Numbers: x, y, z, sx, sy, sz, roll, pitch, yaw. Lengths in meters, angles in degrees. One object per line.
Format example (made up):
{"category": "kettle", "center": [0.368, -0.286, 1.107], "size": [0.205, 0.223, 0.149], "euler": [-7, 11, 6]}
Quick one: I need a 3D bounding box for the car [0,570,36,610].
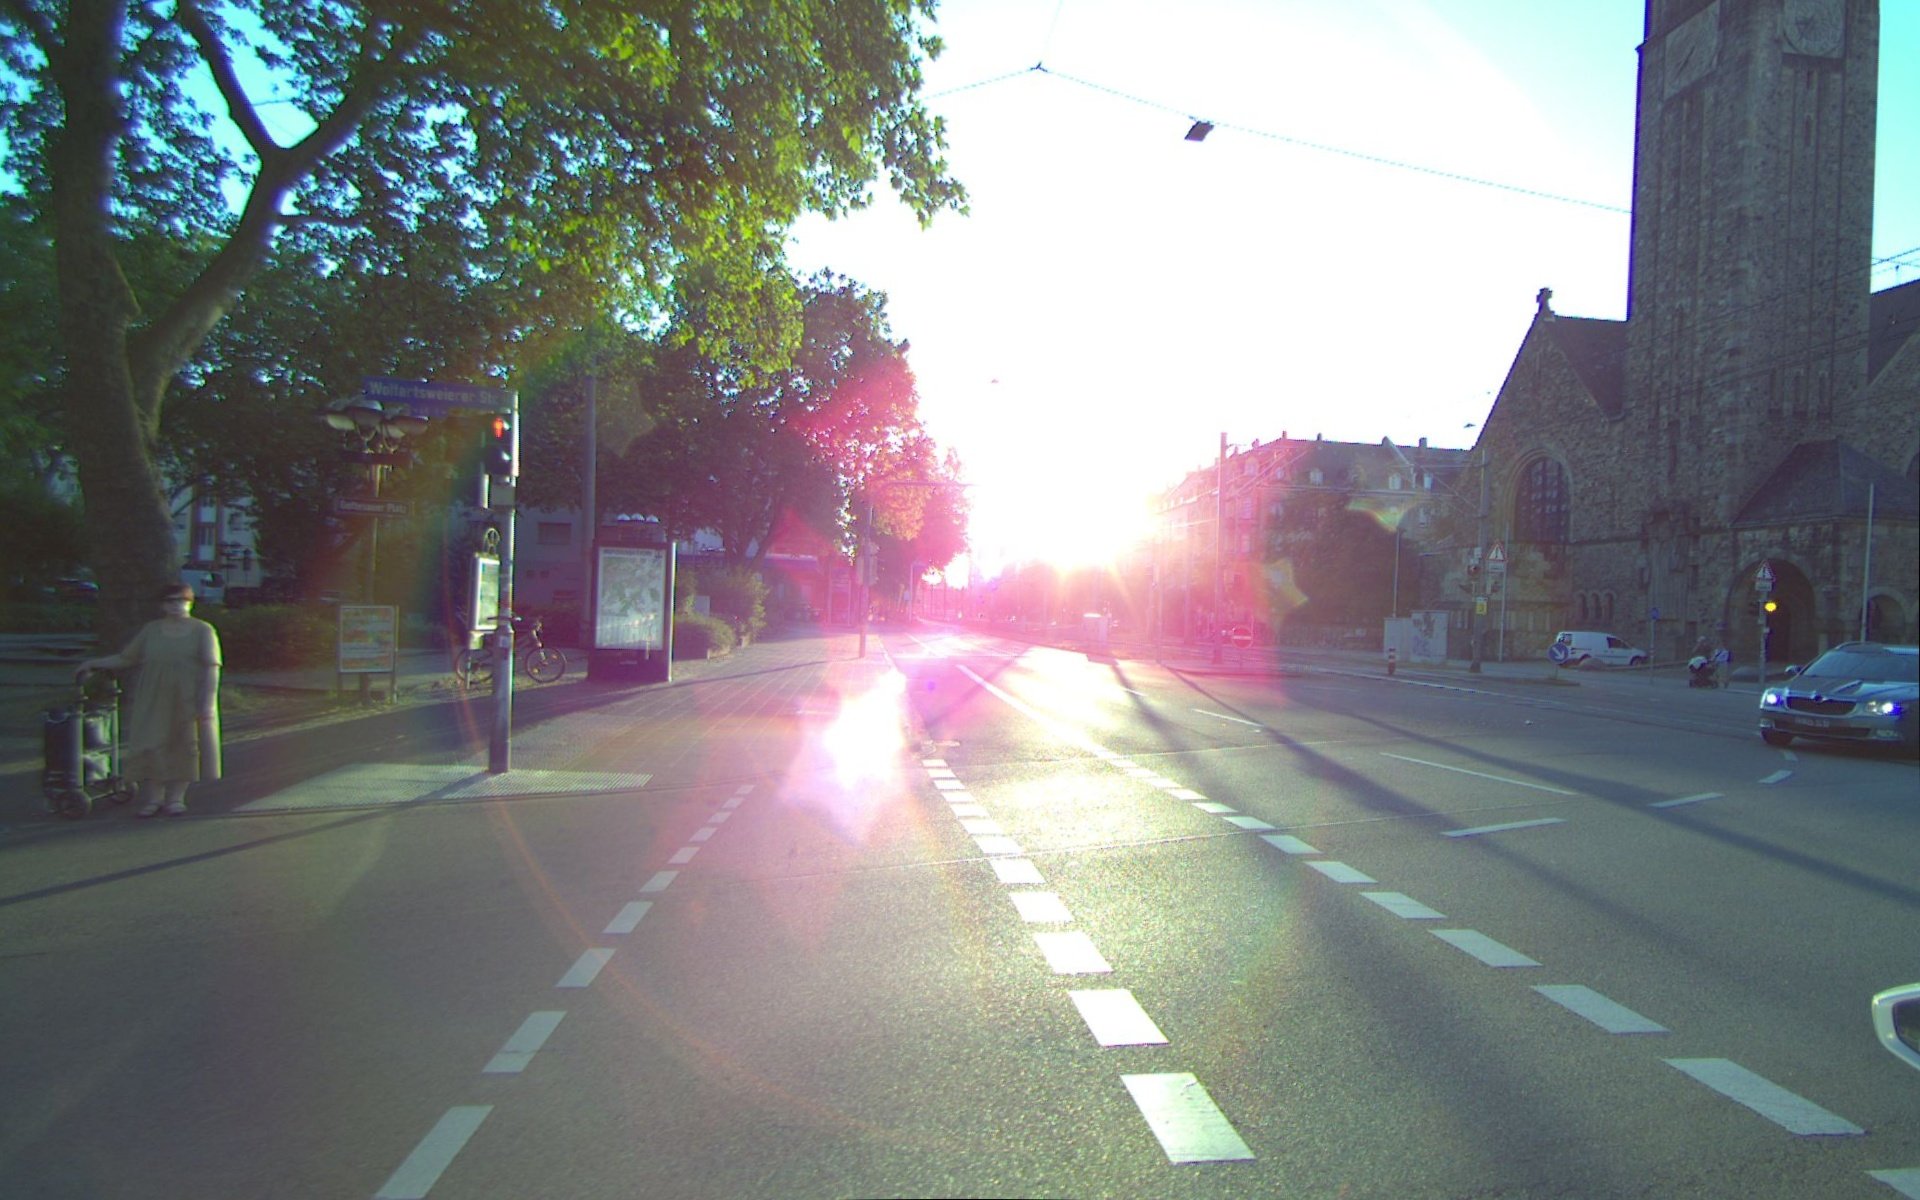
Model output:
{"category": "car", "center": [-45.946, -0.478, 46.190], "size": [4.577, 1.834, 1.992], "euler": [1, -1, -19]}

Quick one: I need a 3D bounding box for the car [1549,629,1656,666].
{"category": "car", "center": [32.230, 2.381, 50.444], "size": [4.371, 1.537, 1.718], "euler": [3, 0, -5]}

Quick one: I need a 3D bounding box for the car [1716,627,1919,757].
{"category": "car", "center": [13.201, 1.257, 14.490], "size": [4.712, 1.578, 1.984], "euler": [3, -2, -30]}

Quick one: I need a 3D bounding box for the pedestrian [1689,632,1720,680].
{"category": "pedestrian", "center": [27.676, 2.062, 37.346], "size": [0.593, 1.721, 0.633], "euler": [3, 0, -15]}

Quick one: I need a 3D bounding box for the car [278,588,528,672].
{"category": "car", "center": [-12.647, 0.695, 23.052], "size": [4.551, 1.805, 1.999], "euler": [1, -1, -4]}

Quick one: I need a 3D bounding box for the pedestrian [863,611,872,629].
{"category": "pedestrian", "center": [-10.656, 2.289, 115.779], "size": [0.837, 2.040, 0.712], "euler": [3, 0, -9]}

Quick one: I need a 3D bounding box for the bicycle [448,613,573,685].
{"category": "bicycle", "center": [-7.360, 0.811, 16.485], "size": [1.779, 1.107, 0.455], "euler": [3, 0, -32]}

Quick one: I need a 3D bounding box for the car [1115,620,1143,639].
{"category": "car", "center": [19.594, 3.426, 116.602], "size": [1.964, 2.040, 3.993], "euler": [3, 0, -9]}

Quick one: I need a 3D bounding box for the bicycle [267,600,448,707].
{"category": "bicycle", "center": [-8.025, 0.732, 13.469], "size": [1.967, 1.344, 0.524], "euler": [3, 0, -25]}

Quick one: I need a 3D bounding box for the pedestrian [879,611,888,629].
{"category": "pedestrian", "center": [-8.862, 2.270, 116.033], "size": [0.837, 2.040, 0.712], "euler": [3, 0, -9]}

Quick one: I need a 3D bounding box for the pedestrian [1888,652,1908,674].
{"category": "pedestrian", "center": [44.988, 3.018, 48.179], "size": [0.703, 0.973, 0.548], "euler": [3, 0, -36]}

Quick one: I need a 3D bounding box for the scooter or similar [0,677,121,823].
{"category": "scooter or similar", "center": [-6.434, 1.020, 6.966], "size": [0.843, 0.909, 0.587], "euler": [3, 0, -34]}

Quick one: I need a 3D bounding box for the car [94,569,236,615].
{"category": "car", "center": [-35.646, -0.322, 45.174], "size": [4.556, 1.964, 1.997], "euler": [1, -1, -9]}

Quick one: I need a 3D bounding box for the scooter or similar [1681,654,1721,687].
{"category": "scooter or similar", "center": [26.971, 2.576, 36.545], "size": [1.061, 1.118, 0.633], "euler": [3, 0, -18]}

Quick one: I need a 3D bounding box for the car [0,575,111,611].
{"category": "car", "center": [-46.638, -0.335, 51.286], "size": [4.571, 1.758, 1.991], "euler": [1, -1, -21]}

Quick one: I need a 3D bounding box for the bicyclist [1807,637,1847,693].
{"category": "bicyclist", "center": [29.627, 2.219, 34.333], "size": [0.846, 1.851, 0.656], "euler": [2, 0, -19]}

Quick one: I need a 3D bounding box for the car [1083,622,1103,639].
{"category": "car", "center": [17.502, 3.965, 132.369], "size": [1.961, 2.040, 3.999], "euler": [3, 0, -2]}

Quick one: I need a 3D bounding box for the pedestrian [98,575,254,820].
{"category": "pedestrian", "center": [-5.671, 0.667, 7.320], "size": [0.766, 1.649, 0.797], "euler": [3, 0, -34]}

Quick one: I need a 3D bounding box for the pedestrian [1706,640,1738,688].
{"category": "pedestrian", "center": [27.877, 2.333, 36.736], "size": [0.593, 1.721, 0.633], "euler": [3, 0, -18]}

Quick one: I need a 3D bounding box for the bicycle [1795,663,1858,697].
{"category": "bicycle", "center": [29.630, 2.749, 34.344], "size": [2.212, 1.092, 0.655], "euler": [2, 0, -21]}

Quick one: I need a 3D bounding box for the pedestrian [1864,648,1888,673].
{"category": "pedestrian", "center": [37.575, 2.482, 41.212], "size": [0.471, 0.973, 0.522], "euler": [3, 0, -9]}

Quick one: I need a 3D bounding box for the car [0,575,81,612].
{"category": "car", "center": [-46.113, -0.309, 48.850], "size": [4.571, 1.758, 1.991], "euler": [1, -1, -21]}
